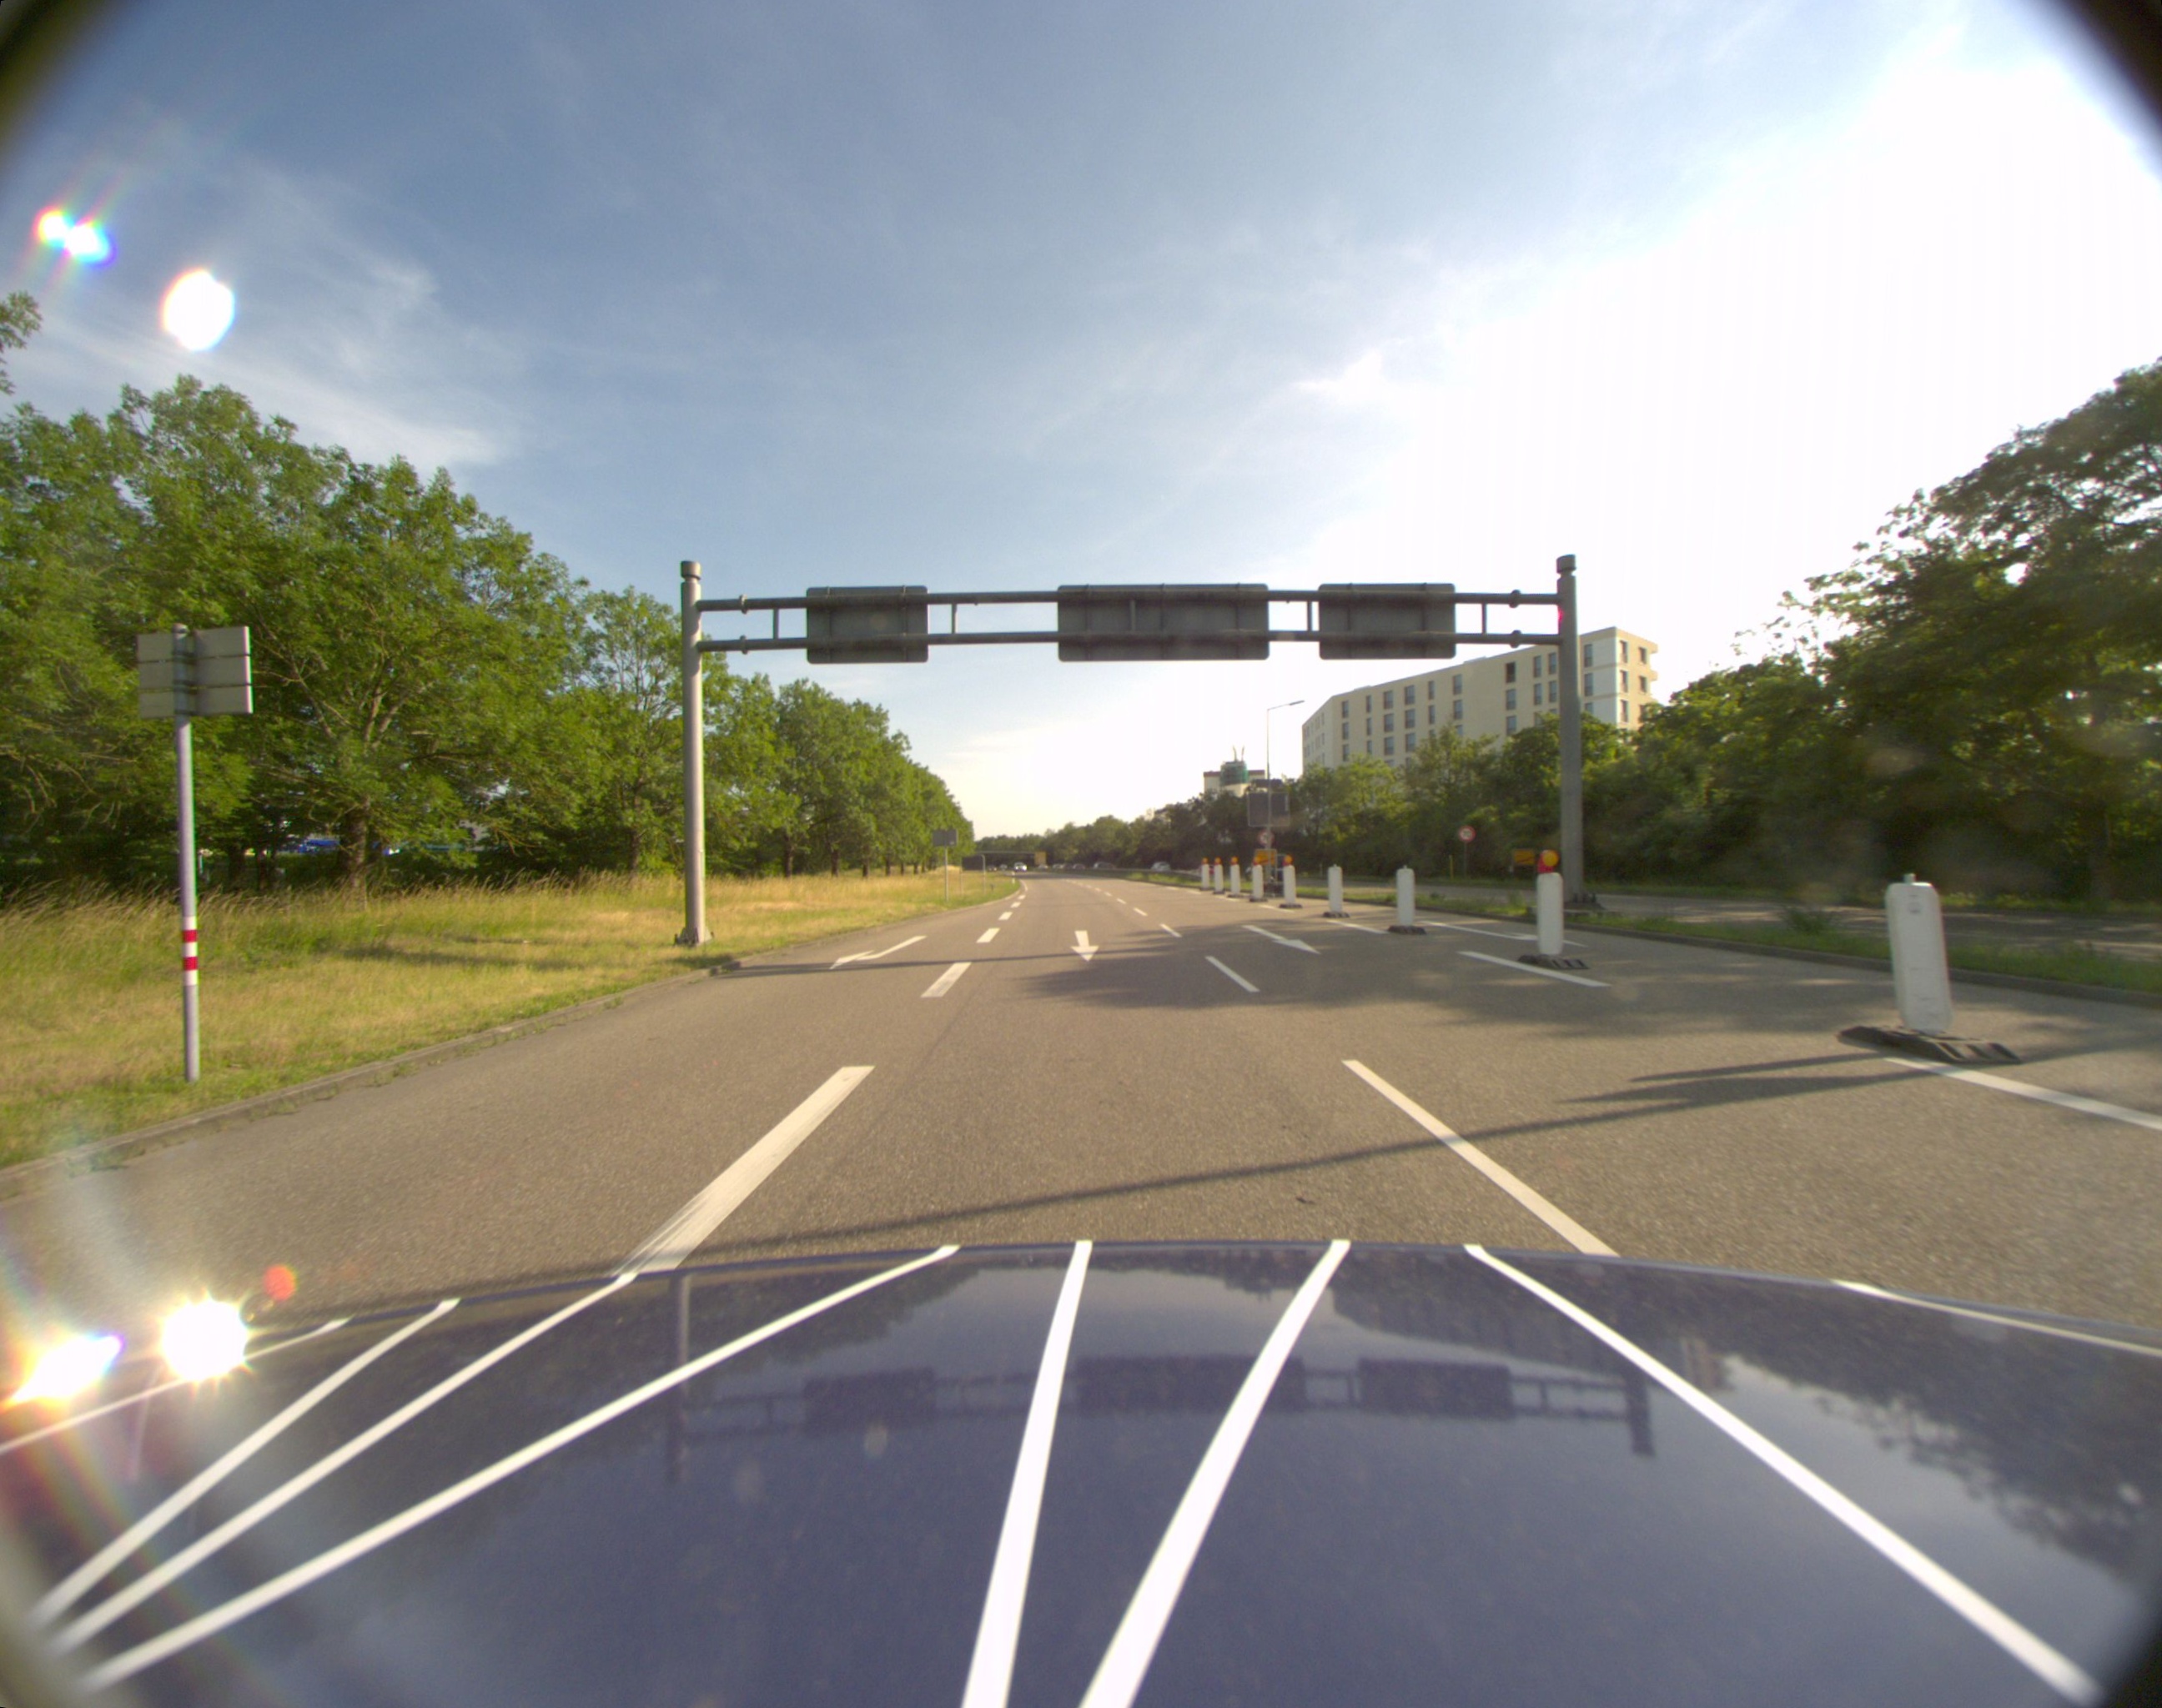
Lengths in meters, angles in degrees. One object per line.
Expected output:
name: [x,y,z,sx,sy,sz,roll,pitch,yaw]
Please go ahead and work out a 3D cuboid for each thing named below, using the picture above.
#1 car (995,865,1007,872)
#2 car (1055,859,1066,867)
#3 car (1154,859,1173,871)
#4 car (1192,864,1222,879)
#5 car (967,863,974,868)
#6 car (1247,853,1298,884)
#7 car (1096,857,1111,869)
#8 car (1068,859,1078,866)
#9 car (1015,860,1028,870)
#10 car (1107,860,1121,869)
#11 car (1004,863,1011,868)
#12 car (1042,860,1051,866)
car: [-17.550,3.187,166.024,1.903,1.377,4.351,-2,0,-14]
car: [-4.117,1.790,151.729,1.608,1.433,3.233,-2,0,-10]
car: [10.248,1.376,94.472,1.644,1.368,4.063,-2,0,-3]
car: [10.056,1.371,60.927,1.516,1.151,3.671,-2,0,-5]
car: [-35.226,3.576,242.495,1.897,1.447,3.904,-1,0,-15]
car: [11.732,0.865,46.812,1.790,1.796,4.122,-1,0,-4]
car: [3.267,1.289,111.136,1.736,1.602,3.522,-2,0,-5]
car: [-1.702,1.916,163.137,1.608,1.433,3.233,-2,0,-12]
car: [-11.442,2.099,145.806,1.903,1.813,4.351,-3,0,-14]
car: [5.508,1.753,127.032,1.673,1.432,3.937,-2,0,-6]
car: [-22.346,3.546,231.250,1.647,1.432,4.197,-2,0,-13]
car: [-8.544,2.311,190.200,1.608,1.432,3.232,-2,0,-13]
